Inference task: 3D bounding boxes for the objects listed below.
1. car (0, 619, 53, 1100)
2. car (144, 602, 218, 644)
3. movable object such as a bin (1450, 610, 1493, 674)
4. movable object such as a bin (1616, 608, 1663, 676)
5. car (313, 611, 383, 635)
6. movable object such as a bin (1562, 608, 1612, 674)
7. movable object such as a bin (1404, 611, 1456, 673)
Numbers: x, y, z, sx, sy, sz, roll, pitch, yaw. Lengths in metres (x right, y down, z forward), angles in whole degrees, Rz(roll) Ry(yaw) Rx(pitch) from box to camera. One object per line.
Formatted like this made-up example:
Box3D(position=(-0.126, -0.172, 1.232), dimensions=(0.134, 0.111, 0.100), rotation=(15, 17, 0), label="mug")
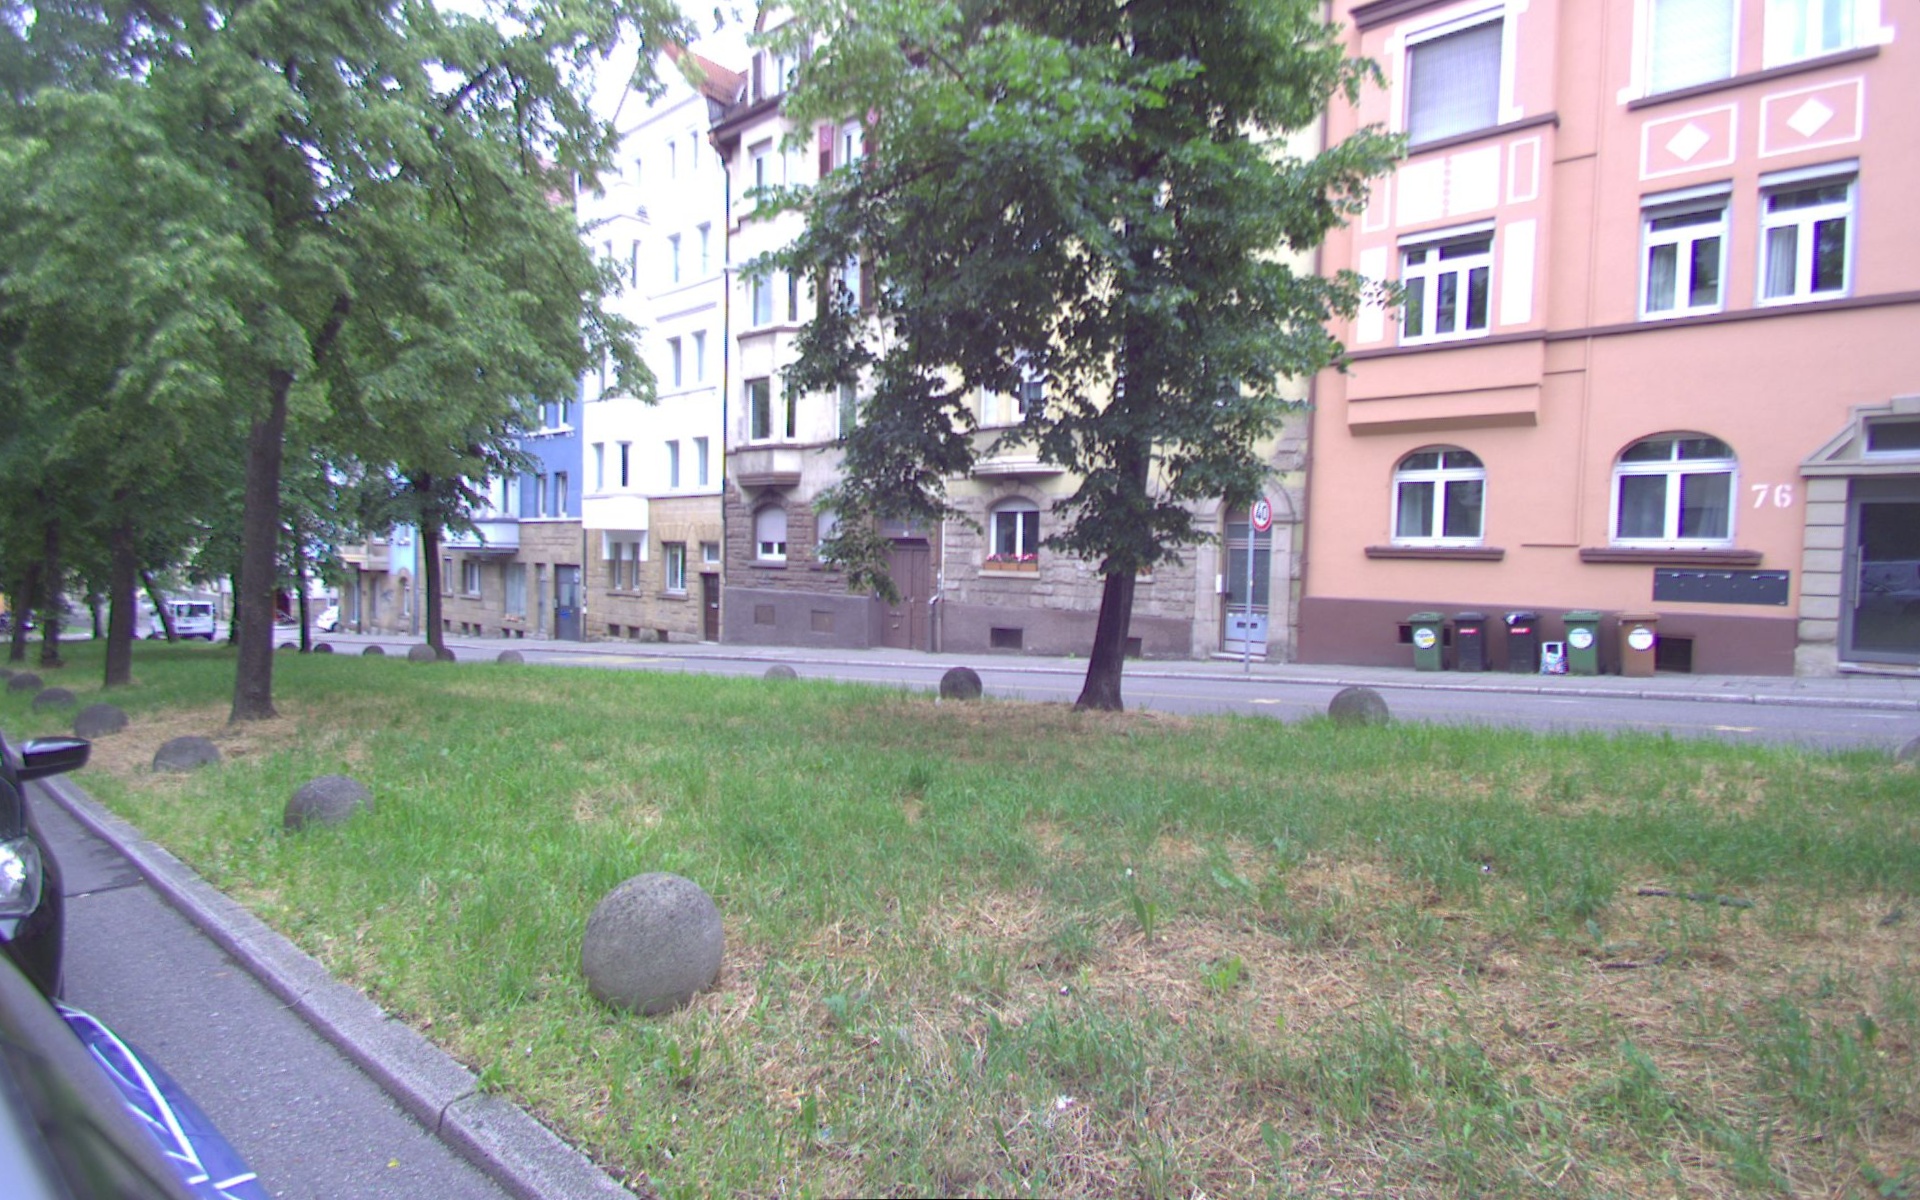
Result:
Box3D(position=(-4.641, 0.797, 3.679), dimensions=(3.295, 1.476, 1.590), rotation=(-1, -2, 41), label="car")
Box3D(position=(-39.103, 1.137, 50.727), dimensions=(5.305, 1.959, 1.972), rotation=(-2, 0, 42), label="car")
Box3D(position=(7.996, 0.646, 15.816), dimensions=(0.531, 0.953, 0.575), rotation=(-1, 0, 35), label="movable object such as a bin")
Box3D(position=(9.641, 0.583, 14.344), dimensions=(0.514, 0.928, 0.750), rotation=(-1, 0, 36), label="movable object such as a bin")
Box3D(position=(-35.366, 1.306, 58.493), dimensions=(3.244, 1.341, 1.674), rotation=(-1, 0, -40), label="car")
Box3D(position=(9.147, 0.589, 14.763), dimensions=(0.558, 0.928, 0.648), rotation=(-1, 0, 36), label="movable object such as a bin")
Box3D(position=(7.522, 0.662, 16.188), dimensions=(0.617, 0.955, 0.610), rotation=(-1, 0, 40), label="movable object such as a bin")
